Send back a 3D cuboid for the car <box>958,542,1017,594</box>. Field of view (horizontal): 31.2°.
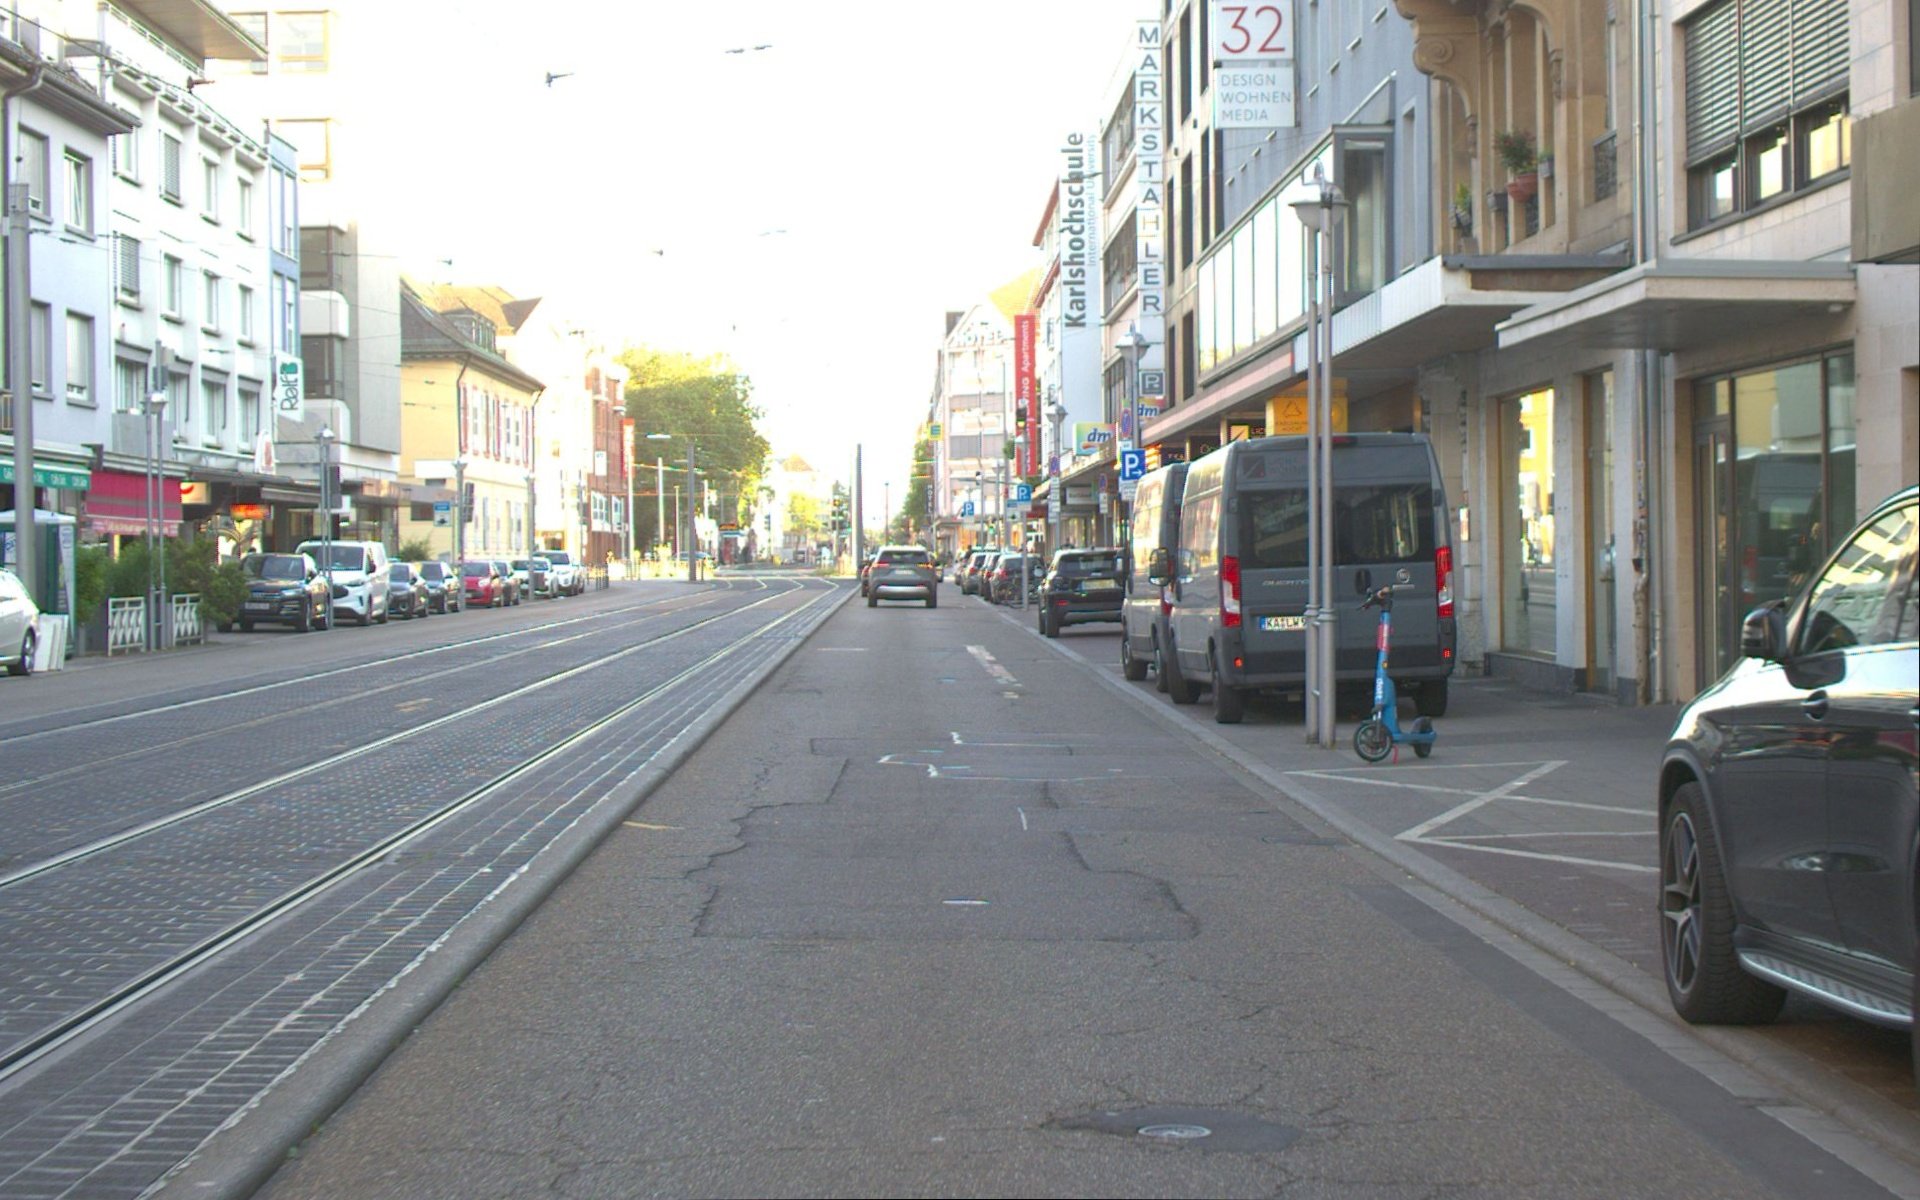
[{"bbox_3d":[0.956,-1.150,121.071,1.944,1.697,4.545,-2,1,0],"label":"car"}]

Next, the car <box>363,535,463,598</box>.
[{"bbox_3d":[-14.041,-0.881,88.399,1.917,1.516,4.630,2,1,-2],"label":"car"}]

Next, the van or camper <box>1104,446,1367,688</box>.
[{"bbox_3d":[2.983,-0.379,38.510,2.188,2.418,5.518,-3,1,-2],"label":"van or camper"}]

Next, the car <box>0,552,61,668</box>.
[{"bbox_3d":[-13.561,0.106,45.921,1.849,1.499,4.842,2,1,-1],"label":"car"}]

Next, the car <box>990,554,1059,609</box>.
[{"bbox_3d":[1.945,-0.574,105.056,1.944,1.539,4.545,-2,1,0],"label":"car"}]

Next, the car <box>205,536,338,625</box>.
[{"bbox_3d":[-14.487,-0.423,72.514,1.917,1.757,4.430,2,1,-1],"label":"car"}]

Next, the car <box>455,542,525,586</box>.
[{"bbox_3d":[-14.947,-1.155,109.467,1.790,1.334,3.892,2,1,-2],"label":"car"}]

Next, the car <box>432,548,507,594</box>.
[{"bbox_3d":[-14.882,-0.889,104.480,1.790,1.334,3.892,2,1,-2],"label":"car"}]

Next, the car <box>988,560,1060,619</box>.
[{"bbox_3d":[1.835,-0.320,99.558,1.944,1.539,4.545,-2,1,0],"label":"car"}]

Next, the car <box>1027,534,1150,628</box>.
[{"bbox_3d":[2.258,-0.370,61.534,1.944,1.539,4.545,-2,1,0],"label":"car"}]

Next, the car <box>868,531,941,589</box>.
[{"bbox_3d":[-1.502,-1.116,94.164,1.944,1.539,4.545,0,1,0],"label":"car"}]

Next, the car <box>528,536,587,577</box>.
[{"bbox_3d":[-15.037,-1.618,128.582,1.790,1.444,3.892,2,1,-2],"label":"car"}]

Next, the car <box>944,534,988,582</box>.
[{"bbox_3d":[0.263,-1.953,159.557,1.944,2.138,4.545,-2,1,0],"label":"car"}]

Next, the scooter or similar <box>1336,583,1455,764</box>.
[{"bbox_3d":[3.118,0.515,24.552,0.355,1.220,1.113,-2,1,32],"label":"scooter or similar"}]

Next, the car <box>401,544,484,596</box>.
[{"bbox_3d":[-14.230,-0.838,94.688,1.790,1.334,3.892,2,1,-2],"label":"car"}]

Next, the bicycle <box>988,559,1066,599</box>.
[{"bbox_3d":[1.876,-0.595,95.864,2.118,1.087,0.592,-1,1,-3],"label":"bicycle"}]

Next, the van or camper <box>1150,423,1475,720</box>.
[{"bbox_3d":[3.162,-0.286,32.275,2.188,2.418,6.133,-3,1,-1],"label":"van or camper"}]

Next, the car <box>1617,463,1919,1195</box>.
[{"bbox_3d":[3.224,0.485,9.114,1.984,1.728,4.671,-3,1,0],"label":"car"}]

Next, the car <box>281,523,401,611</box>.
[{"bbox_3d":[-14.447,-0.782,80.452,1.917,1.929,4.842,2,1,-1],"label":"car"}]

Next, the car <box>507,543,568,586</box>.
[{"bbox_3d":[-15.040,-1.284,122.538,1.790,1.444,3.892,2,1,-2],"label":"car"}]
